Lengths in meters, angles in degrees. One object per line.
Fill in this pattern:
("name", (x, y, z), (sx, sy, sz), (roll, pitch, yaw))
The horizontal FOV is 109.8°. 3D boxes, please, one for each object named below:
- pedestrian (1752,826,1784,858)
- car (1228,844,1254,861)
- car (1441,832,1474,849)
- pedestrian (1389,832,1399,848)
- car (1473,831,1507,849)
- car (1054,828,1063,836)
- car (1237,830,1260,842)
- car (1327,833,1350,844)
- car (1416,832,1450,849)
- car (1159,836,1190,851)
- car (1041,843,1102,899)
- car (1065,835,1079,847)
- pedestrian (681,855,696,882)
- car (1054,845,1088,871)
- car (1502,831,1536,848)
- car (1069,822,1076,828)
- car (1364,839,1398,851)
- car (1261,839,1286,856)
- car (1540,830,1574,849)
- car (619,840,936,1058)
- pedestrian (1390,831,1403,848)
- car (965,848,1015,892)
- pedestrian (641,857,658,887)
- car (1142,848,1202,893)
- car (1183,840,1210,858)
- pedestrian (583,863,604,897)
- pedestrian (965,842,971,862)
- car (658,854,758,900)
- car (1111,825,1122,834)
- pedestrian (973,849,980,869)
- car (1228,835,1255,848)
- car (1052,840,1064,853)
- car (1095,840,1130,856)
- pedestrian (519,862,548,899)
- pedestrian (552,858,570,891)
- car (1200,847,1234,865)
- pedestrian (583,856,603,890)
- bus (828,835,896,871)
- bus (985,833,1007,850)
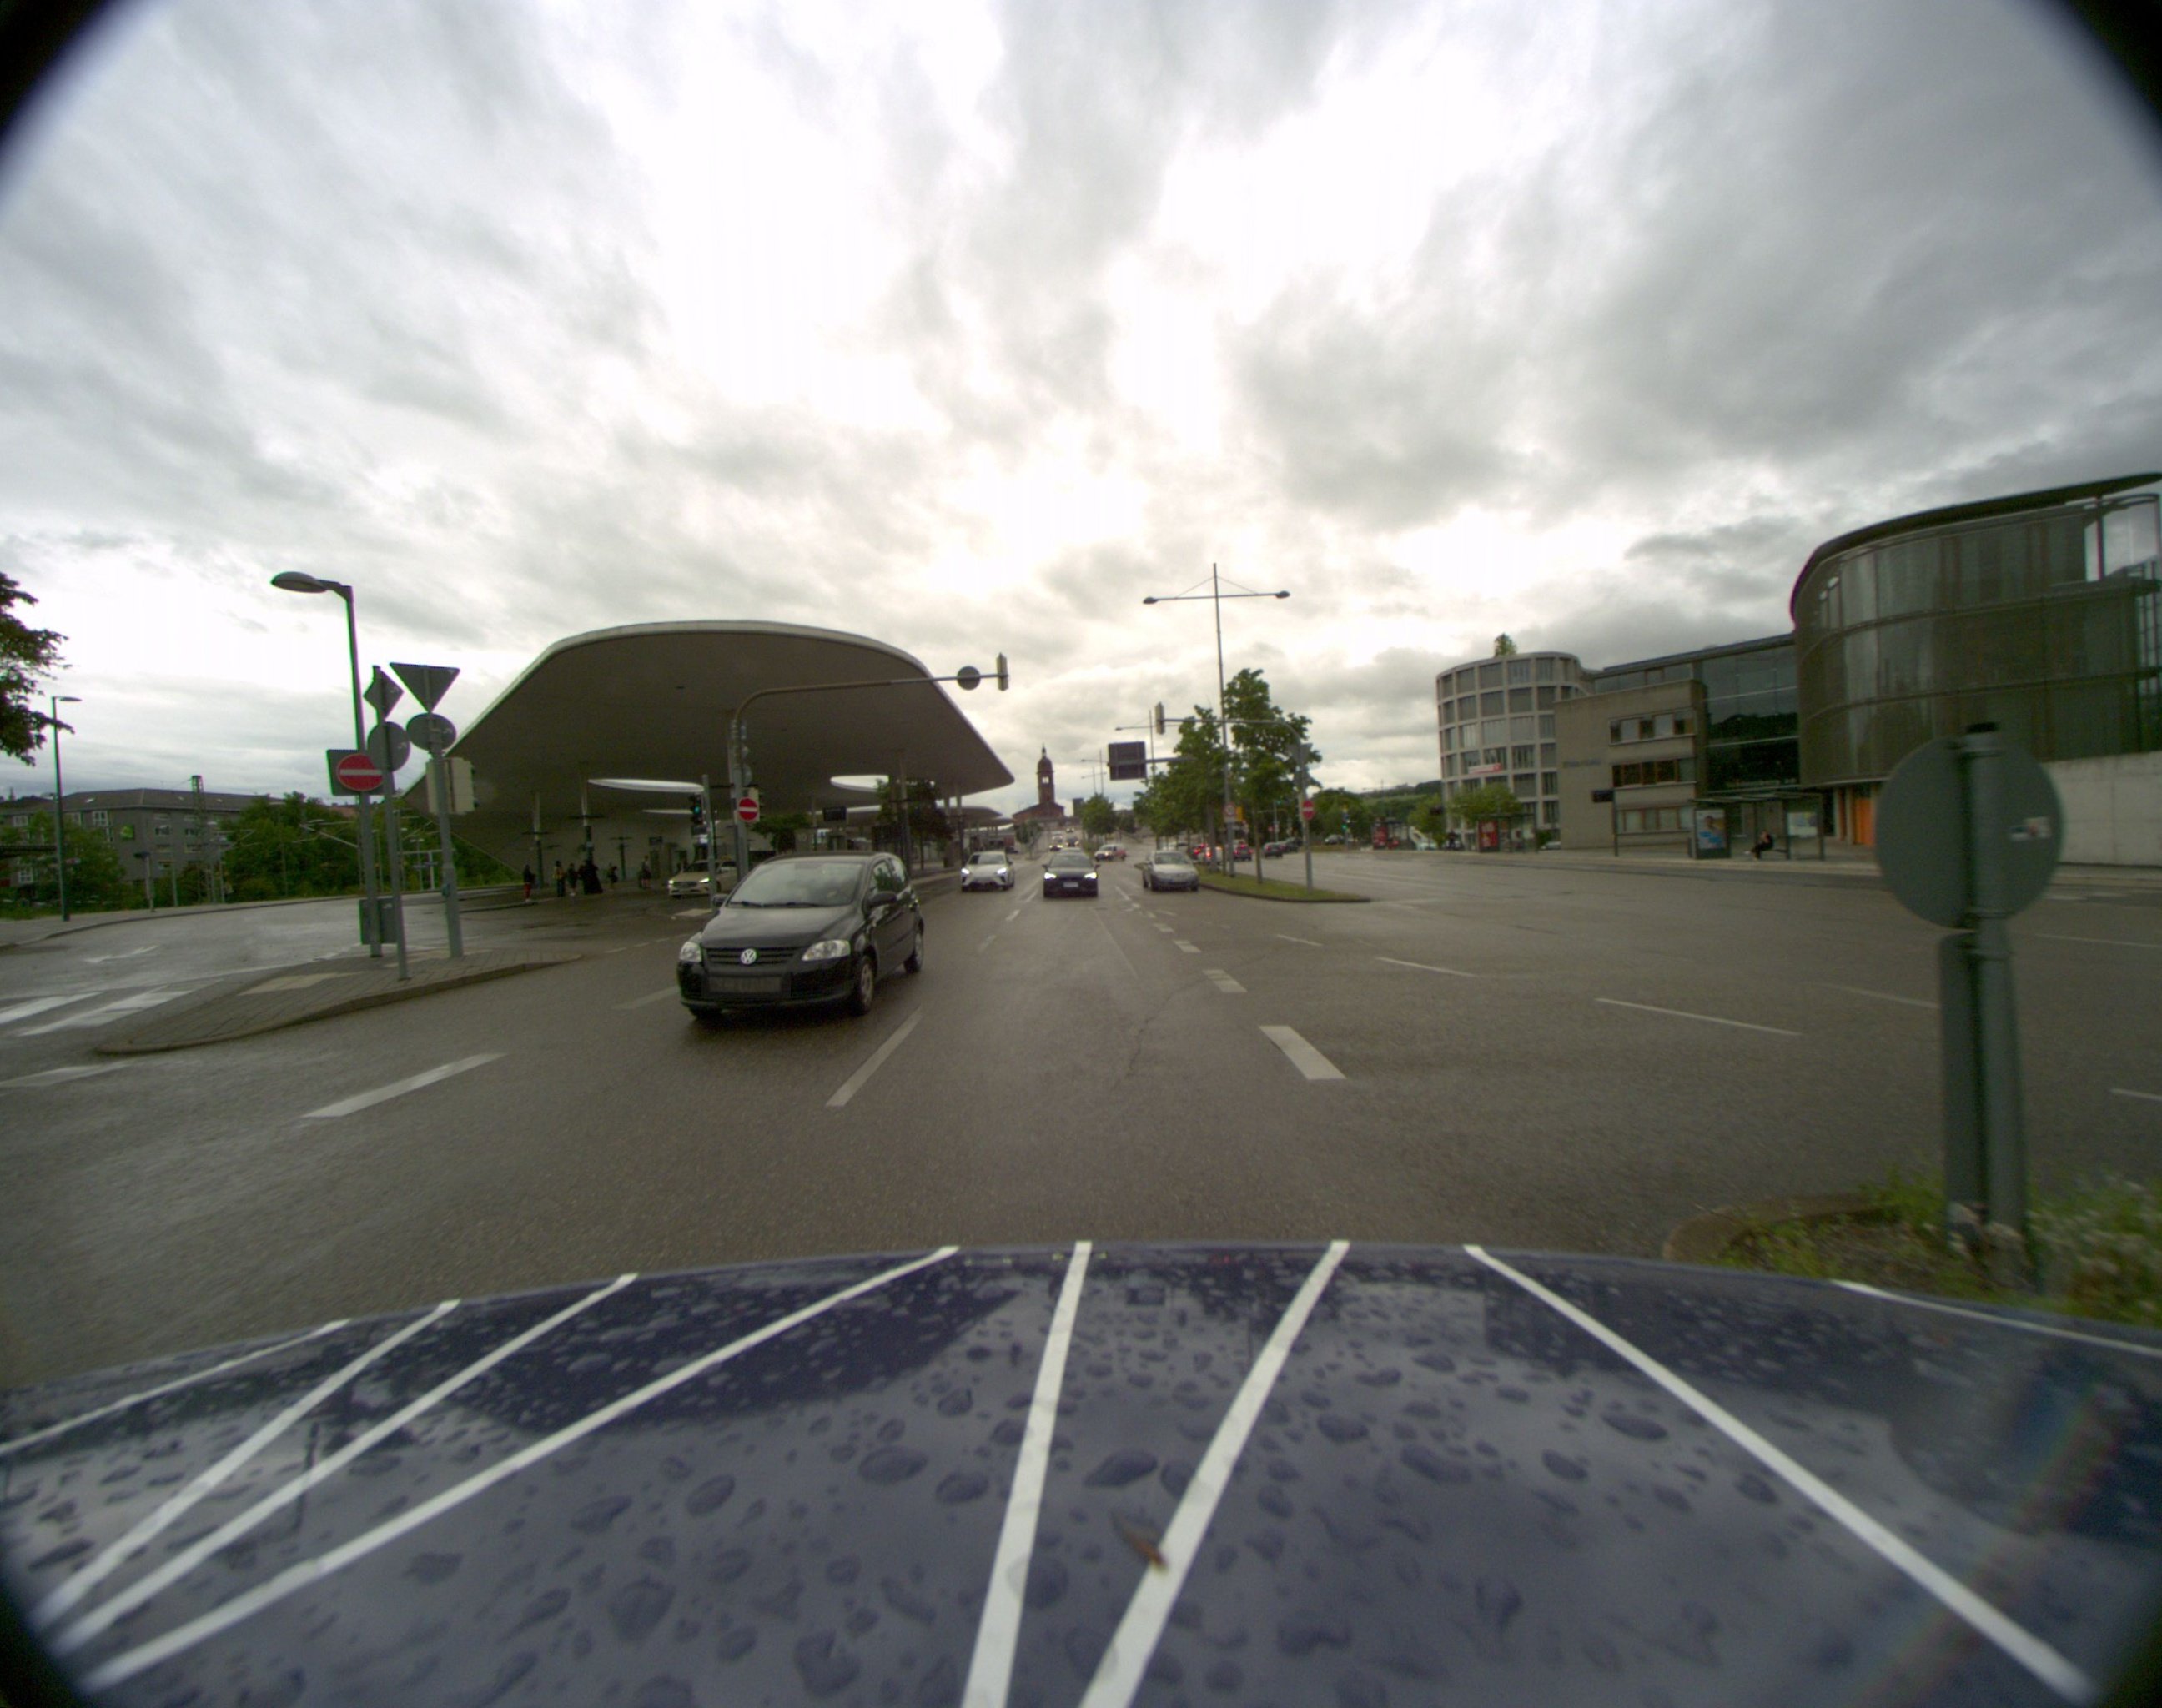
("pedestrian", (28.194, -0.480, 31.205), (0.668, 1.292, 0.720), (-1, 2, 5))
("car", (14.668, -0.175, 69.709), (1.698, 1.457, 4.451), (-1, 1, 3))
("car", (39.004, -1.429, 78.661), (4.165, 1.692, 1.871), (-2, 2, -45))
("pedestrian", (29.240, -1.355, 71.029), (0.732, 1.482, 0.734), (-1, 2, 8))
("car", (41.179, -1.423, 76.520), (4.165, 1.692, 1.871), (-3, 2, -45))
("car", (-4.604, -4.476, 155.799), (1.650, 1.552, 3.647), (-1, 1, -5))
("car", (20.963, -2.258, 95.019), (1.960, 1.414, 3.999), (-1, 1, 0))
("car", (40.107, -2.384, 118.402), (1.889, 1.704, 4.226), (1, 2, 42))
("car", (37.296, -1.449, 80.497), (4.165, 1.692, 1.871), (-2, 2, -45))
("car", (11.365, -1.284, 92.280), (1.871, 1.625, 4.293), (0, 2, 38))
("car", (-0.332, 0.494, 25.863), (1.876, 1.692, 4.156), (-1, 1, -1))
("car", (-1.589, -2.194, 129.932), (1.999, 2.002, 3.997), (-1, 1, -5))
("pedestrian", (-22.270, 0.818, 43.114), (0.478, 1.505, 0.535), (-2, 2, 4))
("car", (-0.742, 0.230, 51.795), (1.876, 1.625, 4.297), (-1, 1, -6))
("car", (43.189, -1.443, 74.950), (4.165, 1.692, 1.871), (-2, 2, -45))
("car", (-2.226, -7.694, 201.542), (1.650, 1.552, 3.647), (-1, 1, -5))
("car", (41.867, -1.269, 105.953), (4.213, 1.609, 1.957), (-1, 2, -24))
("car", (18.594, -0.640, 73.580), (1.681, 1.504, 3.863), (-1, 1, 3))
("car", (45.345, -1.368, 72.340), (4.165, 1.692, 1.871), (-2, 2, -45))
("car", (-2.851, 0.736, 8.263), (1.876, 1.692, 4.155), (-1, 2, -2))
("pedestrian", (29.117, -1.331, 70.077), (0.983, 1.482, 0.734), (-1, 2, 10))
("car", (-3.651, 0.571, 30.461), (1.812, 1.550, 4.046), (-1, 1, -7))
("pedestrian", (-22.231, 0.911, 39.172), (0.478, 1.505, 0.535), (-2, 2, 4))
("car", (3.272, 0.544, 27.992), (1.699, 1.457, 3.718), (-1, 1, -1))
("car", (10.523, -0.487, 69.310), (2.009, 1.545, 4.164), (-1, 1, 3))
("pedestrian", (-21.794, 1.155, 33.979), (0.534, 1.505, 0.479), (-2, 2, 5))
("pedestrian", (-10.231, -0.167, 68.824), (0.445, 1.754, 0.537), (-2, 2, -7))
("car", (-15.878, 0.920, 32.663), (1.998, 1.672, 4.540), (-1, 1, 0))
("car", (7.337, -5.005, 155.176), (1.874, 1.625, 4.159), (-1, 1, 7))
("pedestrian", (-9.408, 0.420, 68.544), (0.446, 1.754, 0.536), (-2, 2, -18))
("car", (21.587, -1.648, 102.096), (1.871, 1.625, 4.165), (-1, 1, 40))
("car", (-3.867, -1.255, 127.095), (1.999, 2.002, 3.998), (-1, 1, -1))
("car", (3.379, -0.672, 81.507), (1.872, 1.625, 4.165), (0, 2, 32))
("pedestrian", (-23.929, 1.156, 33.231), (0.641, 1.586, 0.741), (0, 2, 14))
("pedestrian", (-24.248, 0.970, 35.409), (0.533, 1.505, 0.480), (-1, 2, 35))
("car", (11.044, 0.152, 61.893), (2.010, 1.345, 4.163), (-1, 1, 0))
("pedestrian", (-22.358, 0.863, 34.803), (0.534, 1.505, 0.479), (-2, 2, 5))
("bus", (-20.363, -0.144, 71.477), (2.876, 3.064, 11.920), (-1, 0, 0))
("bus", (-15.942, -2.333, 142.397), (3.585, 3.080, 10.744), (-2, 1, -9))
